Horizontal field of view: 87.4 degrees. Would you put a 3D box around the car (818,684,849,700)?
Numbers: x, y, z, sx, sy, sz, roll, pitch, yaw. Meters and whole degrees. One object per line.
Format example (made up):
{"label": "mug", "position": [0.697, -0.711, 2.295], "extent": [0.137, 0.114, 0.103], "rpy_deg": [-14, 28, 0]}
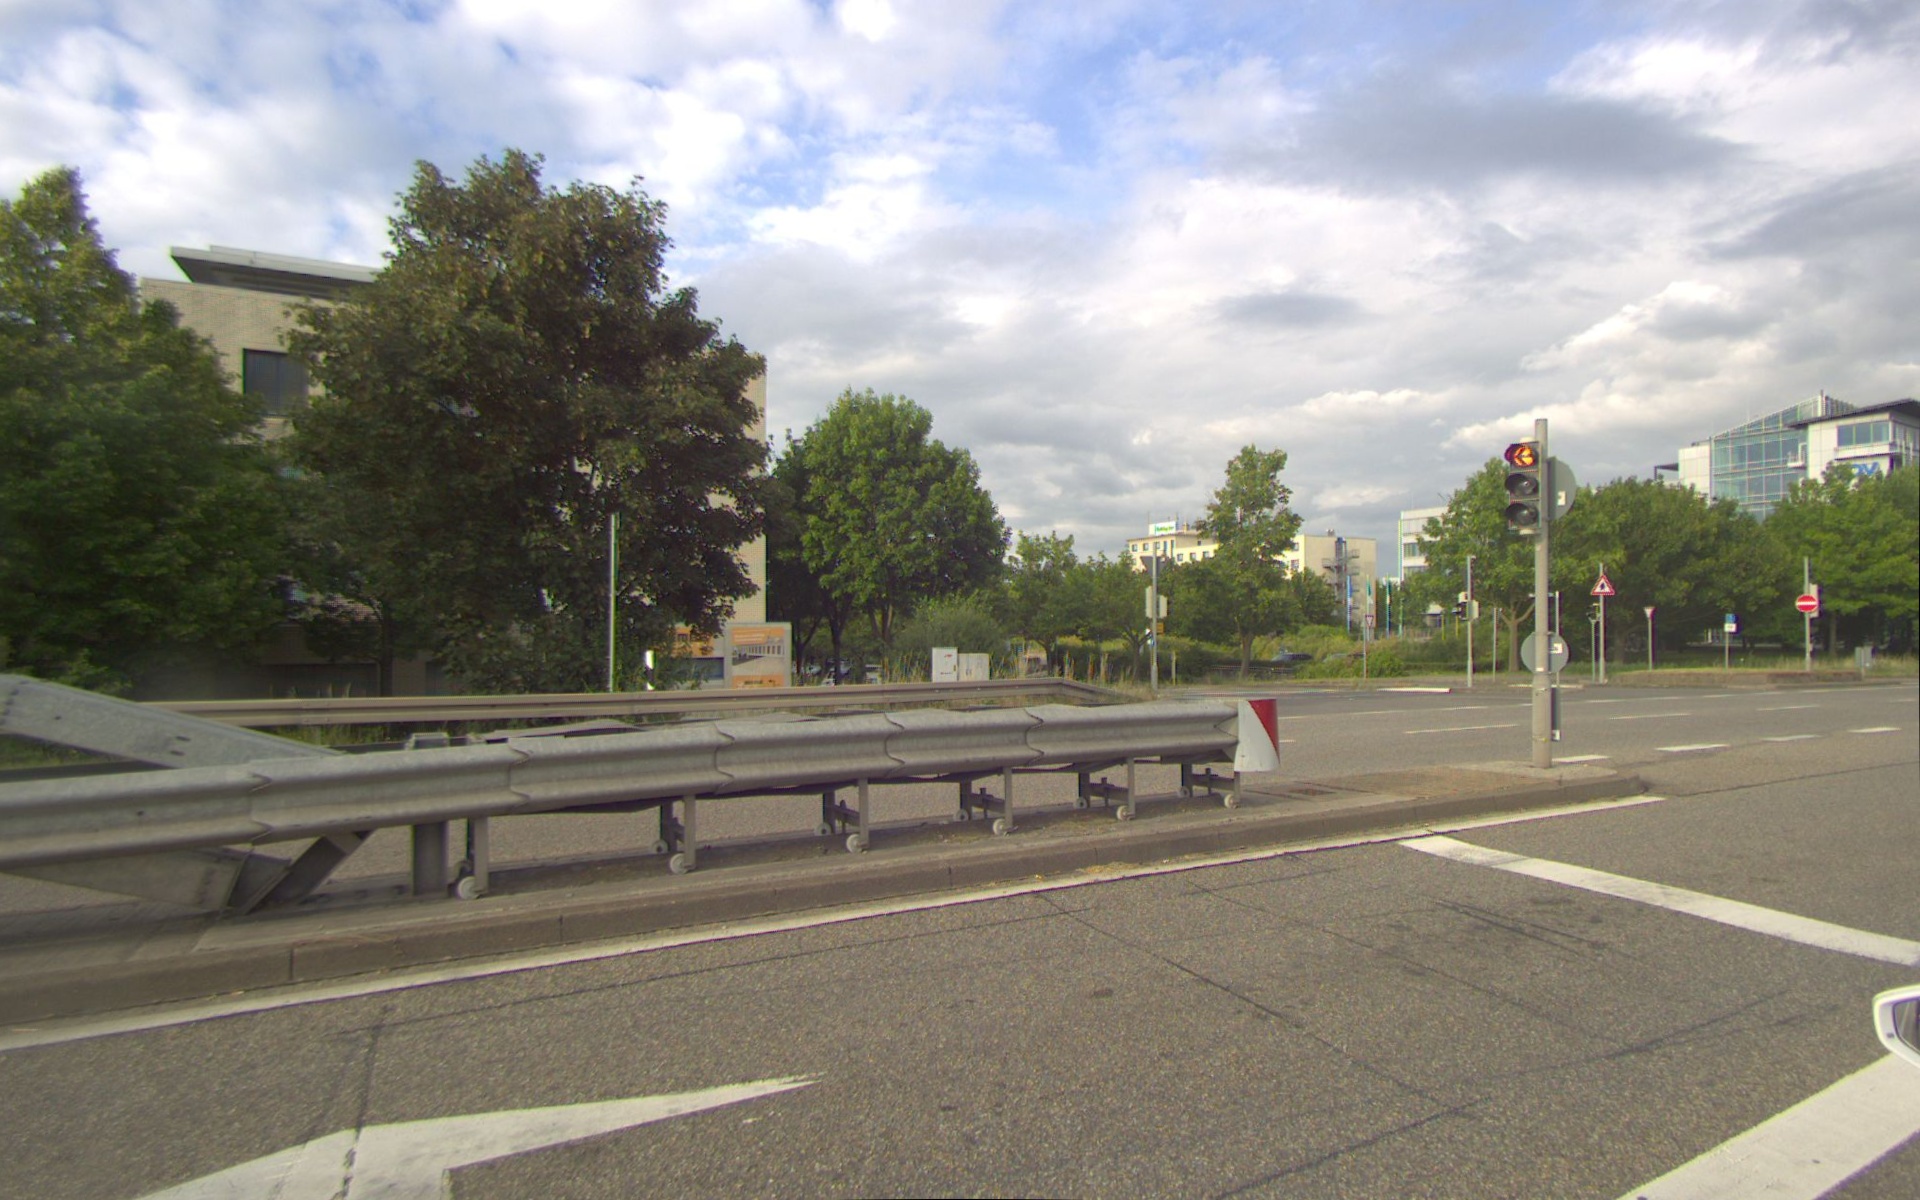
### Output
{"label": "car", "position": [-11.178, 8.141, 88.656], "extent": [1.566, 1.359, 3.727], "rpy_deg": [1, -5, -27]}
